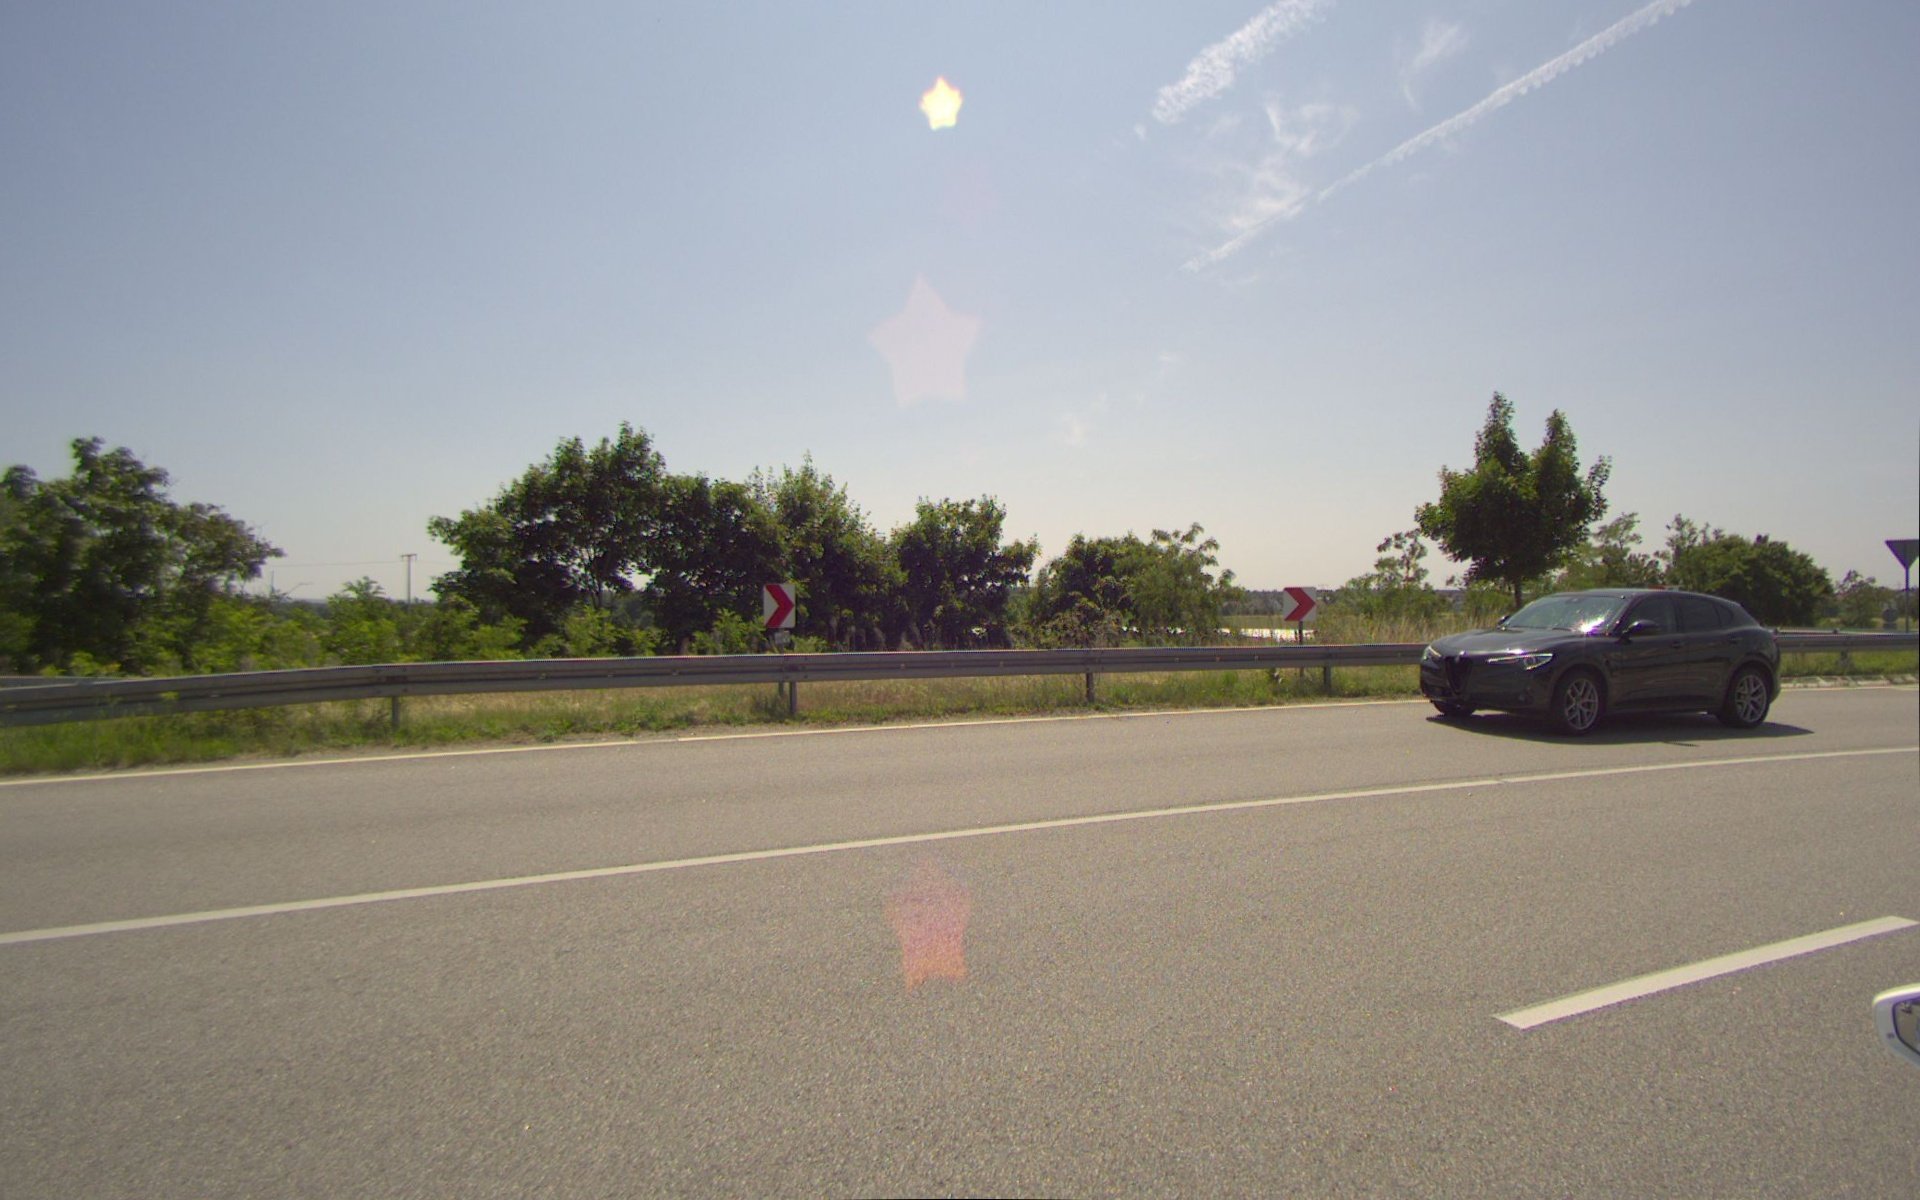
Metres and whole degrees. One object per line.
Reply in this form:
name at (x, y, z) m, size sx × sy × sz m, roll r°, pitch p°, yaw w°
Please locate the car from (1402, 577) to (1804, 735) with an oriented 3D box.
car at (7.899, 0.613, 12.374) m, size 4.496 × 1.680 × 1.710 m, roll 1°, pitch 2°, yaw -19°
